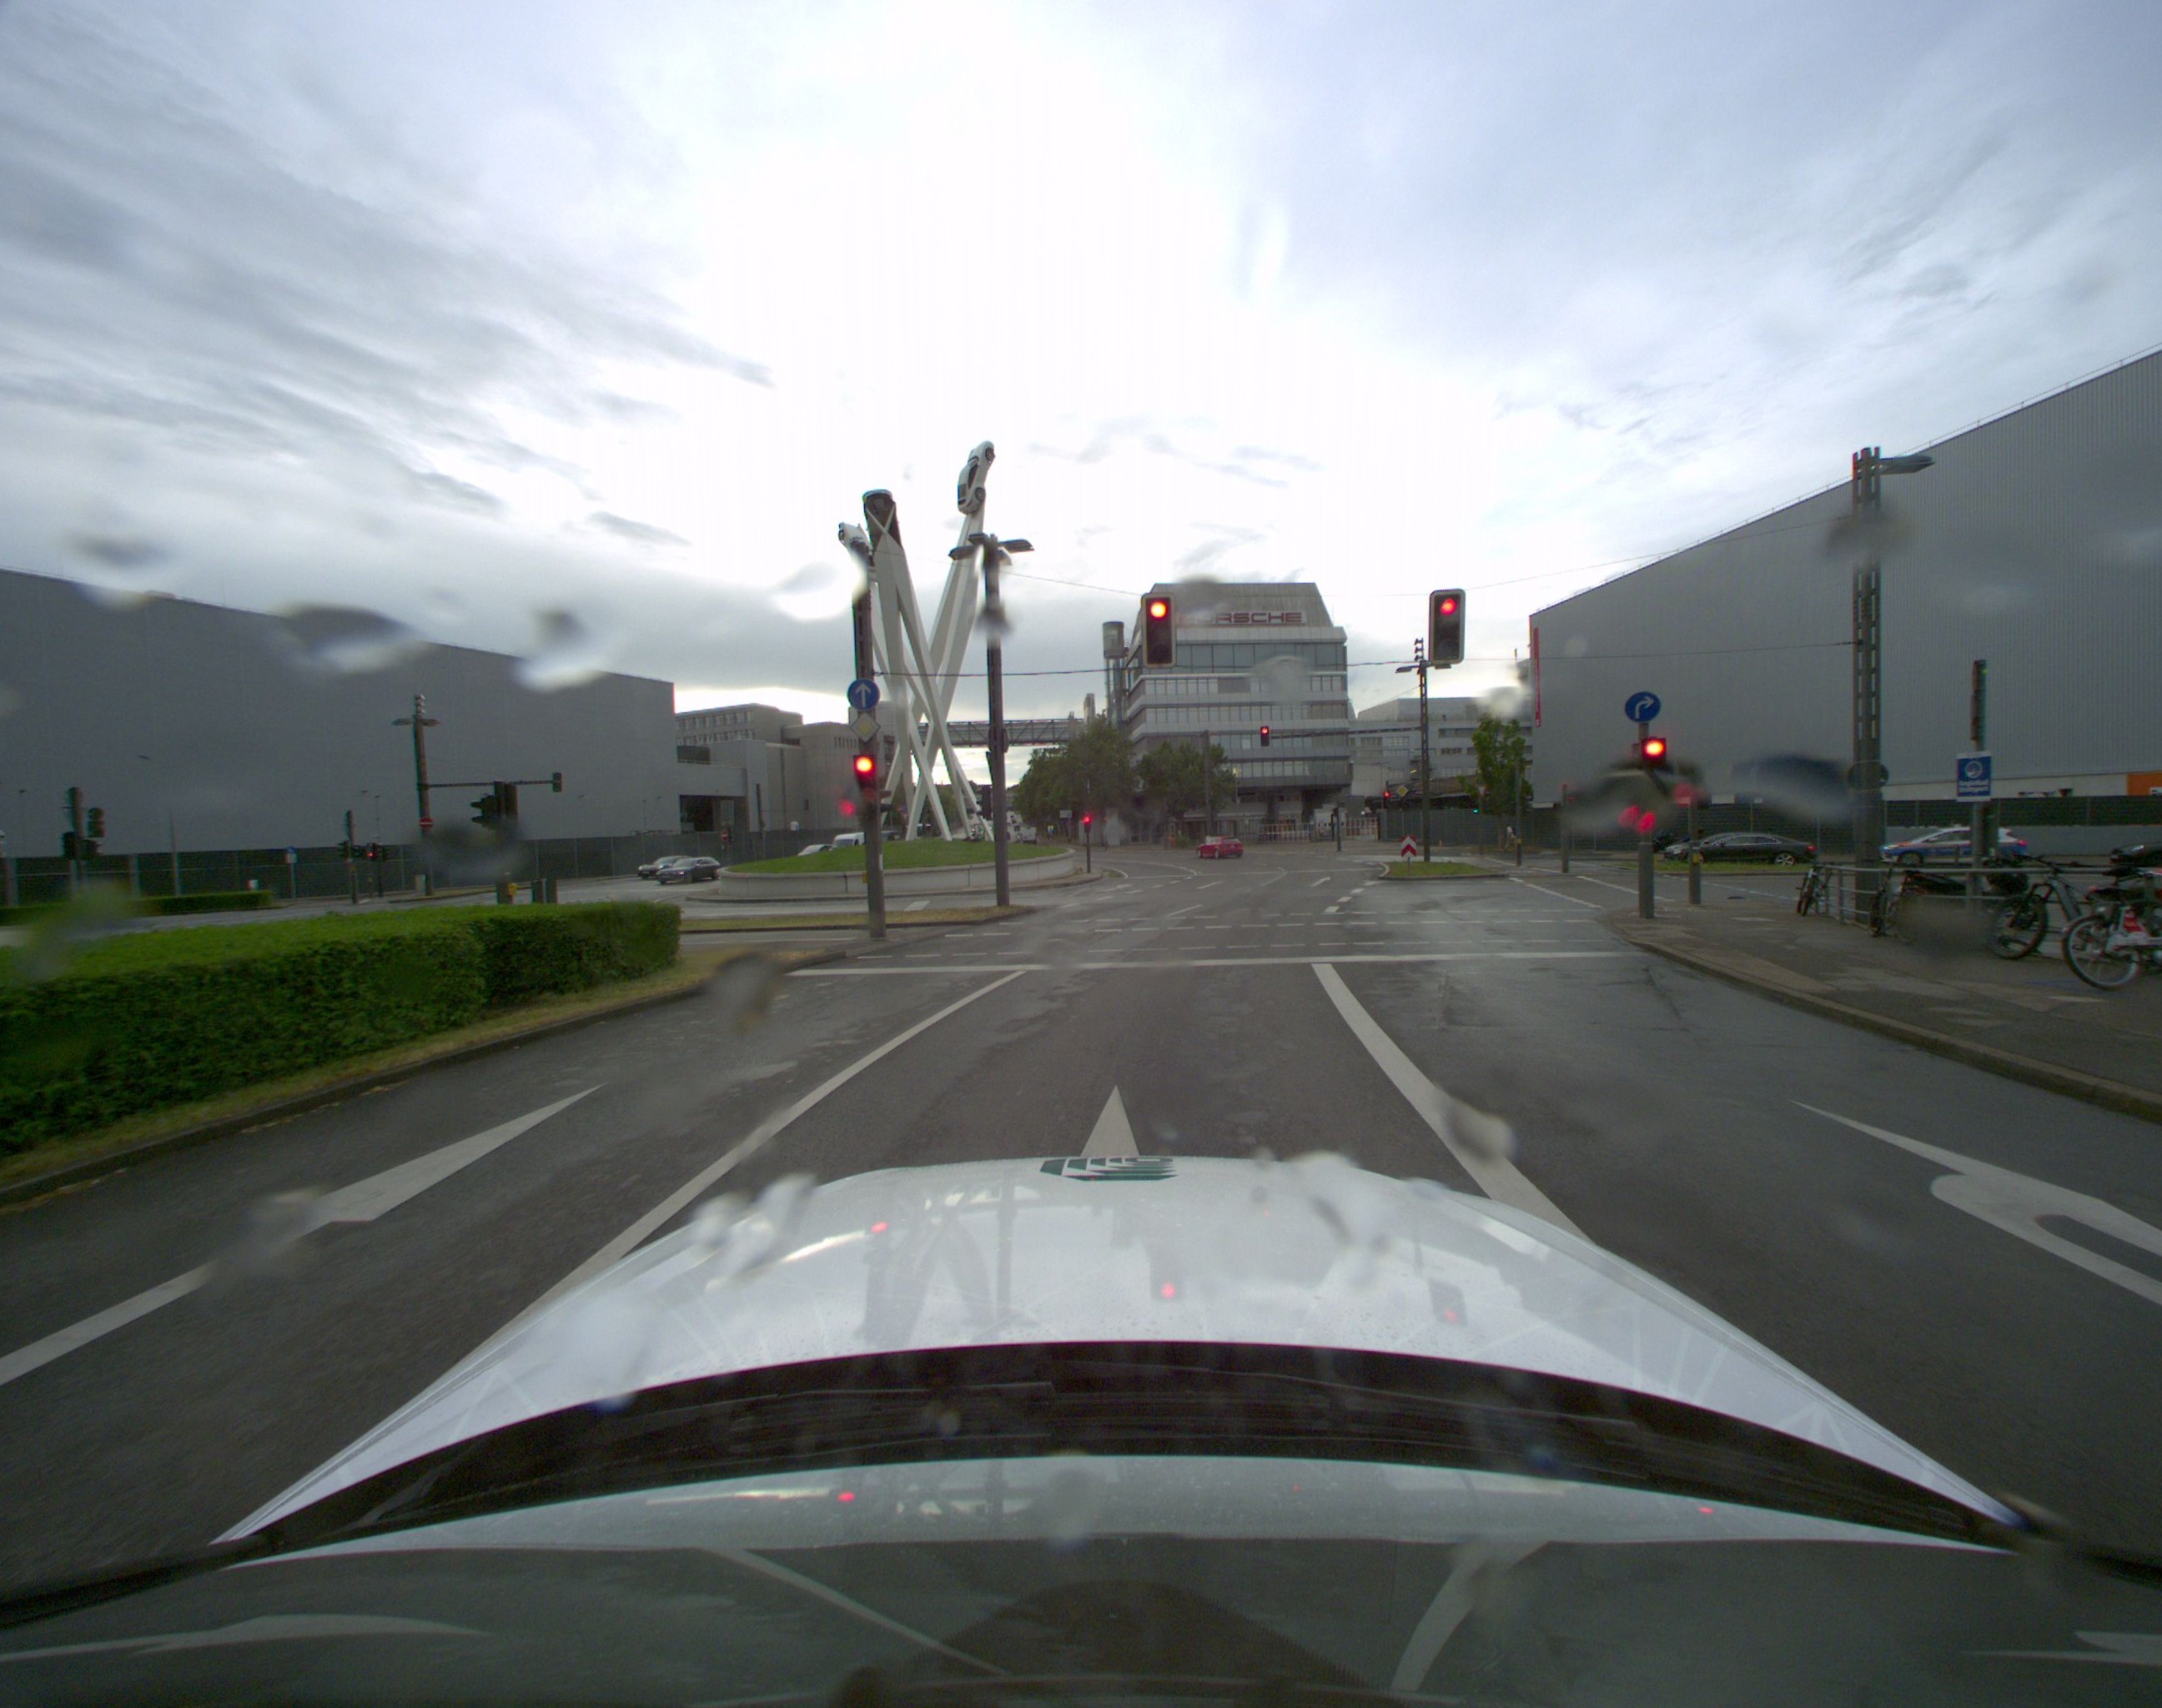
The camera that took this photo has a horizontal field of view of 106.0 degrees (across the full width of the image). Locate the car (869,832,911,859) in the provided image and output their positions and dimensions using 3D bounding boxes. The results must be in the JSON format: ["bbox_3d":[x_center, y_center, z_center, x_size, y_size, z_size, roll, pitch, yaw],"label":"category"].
[{"bbox_3d":[-21.096,-0.969,90.246,1.955,2.820,7.145,-2,0,8],"label":"car"}]

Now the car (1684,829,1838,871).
[{"bbox_3d":[26.583,-0.186,32.042,4.525,1.539,1.769,0,2,38],"label":"car"}]

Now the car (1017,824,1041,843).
[{"bbox_3d":[-6.663,-2.558,103.642,2.235,2.108,4.931,-2,-1,-13],"label":"car"}]

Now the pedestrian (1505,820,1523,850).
[{"bbox_3d":[24.550,-1.070,46.156,0.800,1.610,0.774,-2,-1,25],"label":"pedestrian"}]

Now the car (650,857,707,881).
[{"bbox_3d":[-24.695,0.885,50.096,1.844,1.338,3.990,-2,0,-7],"label":"car"}]

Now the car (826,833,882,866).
[{"bbox_3d":[-17.989,-0.408,64.750,1.981,2.447,5.443,-2,1,11],"label":"car"}]

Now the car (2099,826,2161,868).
[{"bbox_3d":[38.473,-0.251,28.050,3.948,1.392,1.769,0,2,38],"label":"car"}]

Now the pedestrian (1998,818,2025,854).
[{"bbox_3d":[38.612,-0.734,33.800,0.642,1.481,0.442,-1,0,41],"label":"pedestrian"}]

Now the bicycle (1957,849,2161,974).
[{"bbox_3d":[10.381,0.548,8.608,0.382,1.162,2.007,-2,-1,11],"label":"bicycle"}]

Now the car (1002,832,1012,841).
[{"bbox_3d":[-12.363,-2.899,135.639,1.556,1.288,3.405,-2,0,-7],"label":"car"}]

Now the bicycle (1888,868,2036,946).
[{"bbox_3d":[11.508,0.653,10.722,0.527,0.905,1.822,-2,0,20],"label":"bicycle"}]

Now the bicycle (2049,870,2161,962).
[{"bbox_3d":[11.296,0.637,8.208,0.688,0.905,2.179,-1,0,8],"label":"bicycle"}]

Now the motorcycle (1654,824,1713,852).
[{"bbox_3d":[30.218,-0.786,40.894,2.329,1.344,0.657,-1,1,36],"label":"motorcycle"}]

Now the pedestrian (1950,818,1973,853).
[{"bbox_3d":[37.932,-0.812,35.081,0.606,1.481,0.426,-1,0,44],"label":"pedestrian"}]

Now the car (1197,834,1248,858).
[{"bbox_3d":[9.265,-0.490,53.575,1.777,1.464,3.709,-2,-1,-18],"label":"car"}]

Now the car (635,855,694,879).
[{"bbox_3d":[-28.350,0.848,55.589,1.828,1.472,4.510,-2,0,-2],"label":"car"}]

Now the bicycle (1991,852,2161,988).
[{"bbox_3d":[9.581,0.568,7.401,1.762,1.140,0.679,-2,-1,3],"label":"bicycle"}]

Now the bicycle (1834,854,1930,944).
[{"bbox_3d":[11.008,0.580,11.243,0.381,1.119,1.761,-2,0,26],"label":"bicycle"}]

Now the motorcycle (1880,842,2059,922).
[{"bbox_3d":[16.912,0.524,15.573,2.210,1.452,0.760,-1,0,19],"label":"motorcycle"}]

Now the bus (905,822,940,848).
[{"bbox_3d":[-21.464,-2.523,111.146,2.662,3.200,12.661,-1,1,-2],"label":"bus"}]

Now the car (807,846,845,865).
[{"bbox_3d":[-21.469,0.081,68.702,1.827,1.494,4.000,-2,0,1],"label":"car"}]

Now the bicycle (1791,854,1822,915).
[{"bbox_3d":[14.185,0.569,15.936,0.381,1.097,1.761,-2,0,41],"label":"bicycle"}]

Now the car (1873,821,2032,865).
[{"bbox_3d":[33.661,-0.427,31.636,3.930,1.601,1.924,0,1,38],"label":"car"}]
